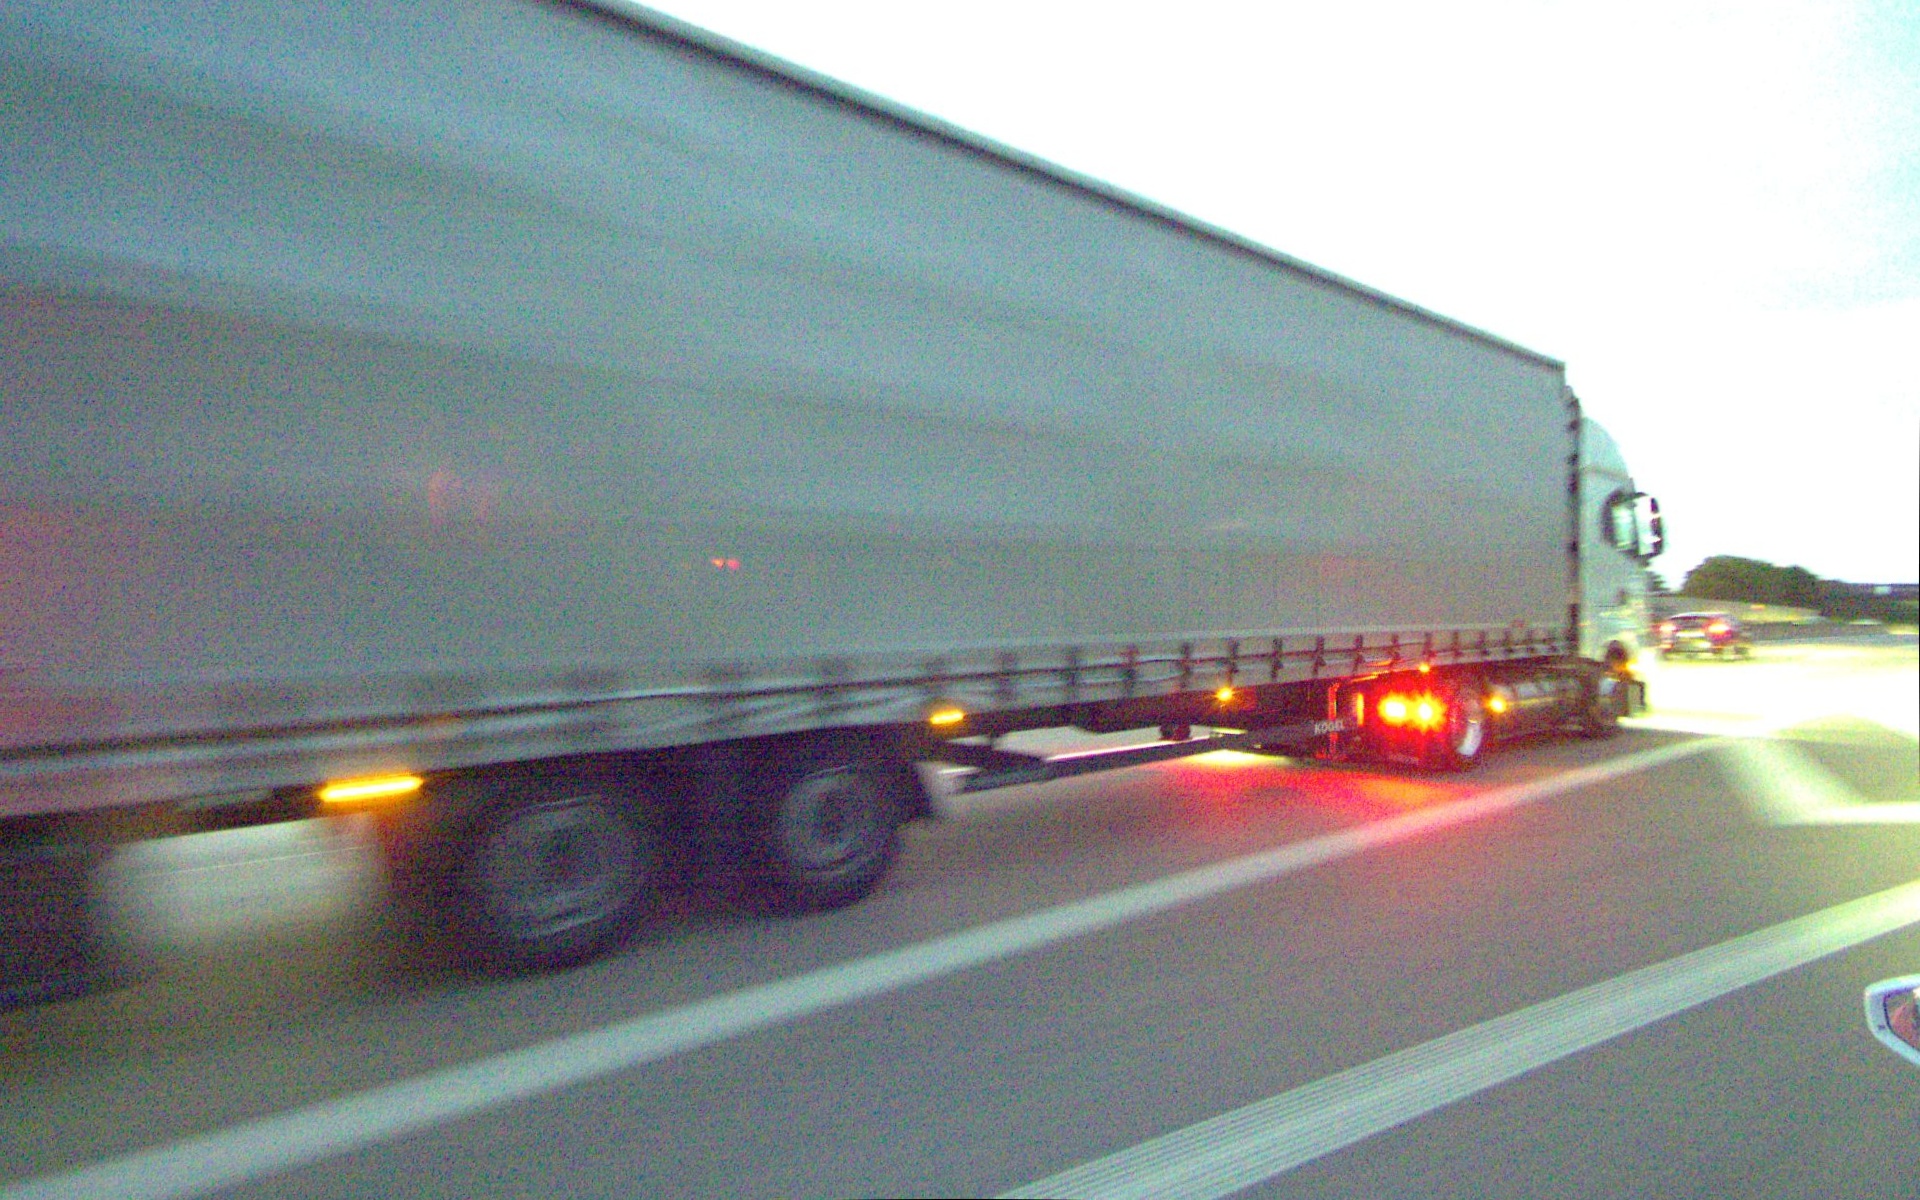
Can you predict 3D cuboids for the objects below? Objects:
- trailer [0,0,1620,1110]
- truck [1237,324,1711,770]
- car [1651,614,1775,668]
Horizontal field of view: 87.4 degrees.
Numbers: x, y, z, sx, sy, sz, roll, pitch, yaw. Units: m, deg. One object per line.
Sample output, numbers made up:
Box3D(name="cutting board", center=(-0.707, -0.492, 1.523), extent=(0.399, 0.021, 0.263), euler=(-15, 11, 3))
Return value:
Box3D(name="trailer", center=(0.441, -0.489, 7.189), extent=(14.689, 3.967, 2.752), euler=(0, -1, -39))
Box3D(name="truck", center=(6.285, -0.438, 11.909), extent=(6.101, 3.953, 2.757), euler=(0, -1, -39))
Box3D(name="car", center=(23.327, 1.212, 31.083), extent=(4.507, 1.518, 1.978), euler=(0, -1, -38))
